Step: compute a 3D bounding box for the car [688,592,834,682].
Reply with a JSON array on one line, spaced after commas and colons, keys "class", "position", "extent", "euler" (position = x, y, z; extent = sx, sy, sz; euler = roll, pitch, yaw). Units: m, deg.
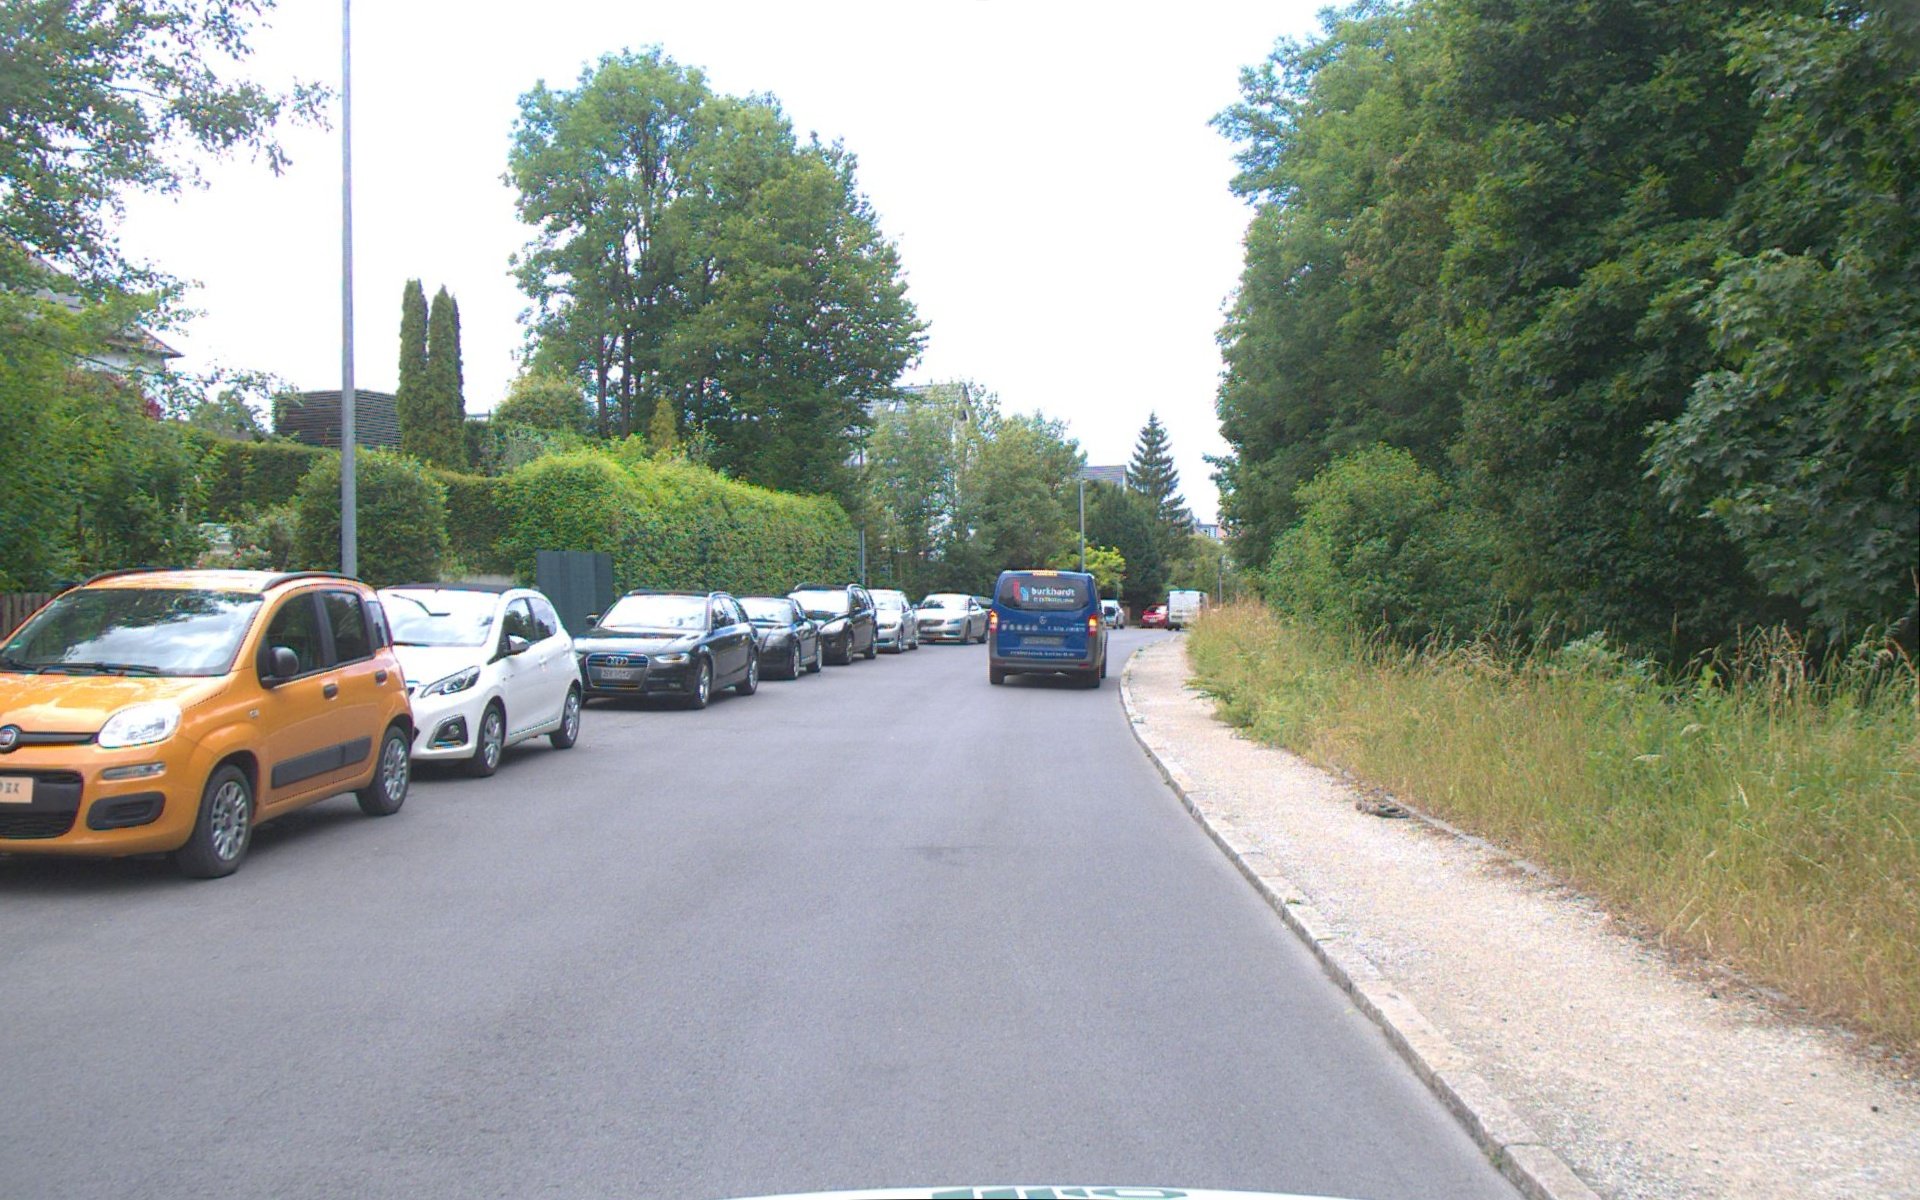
[{"class": "car", "position": [-3.284, 0.574, 28.043], "extent": [1.675, 1.364, 4.110], "euler": [1, 0, 4]}]

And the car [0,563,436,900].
[{"class": "car", "position": [-4.341, 0.596, 9.438], "extent": [1.512, 1.541, 3.644], "euler": [1, 0, 0]}]

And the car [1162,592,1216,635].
[{"class": "car", "position": [11.730, 0.692, 84.473], "extent": [2.159, 2.100, 6.139], "euler": [0, 0, 13]}]

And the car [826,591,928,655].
[{"class": "car", "position": [-1.899, 0.509, 39.160], "extent": [1.737, 1.398, 4.343], "euler": [1, 0, 6]}]

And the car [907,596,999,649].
[{"class": "car", "position": [-0.152, 0.610, 47.043], "extent": [1.792, 1.398, 4.449], "euler": [1, 0, 11]}]

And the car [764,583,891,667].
[{"class": "car", "position": [-2.626, 0.479, 33.800], "extent": [1.621, 1.560, 4.478], "euler": [1, 0, 8]}]

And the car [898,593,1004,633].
[{"class": "car", "position": [-0.356, 0.526, 65.292], "extent": [4.082, 1.472, 1.740], "euler": [1, -1, -1]}]

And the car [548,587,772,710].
[{"class": "car", "position": [-3.765, 0.562, 21.611], "extent": [1.682, 1.409, 4.666], "euler": [1, 0, 5]}]

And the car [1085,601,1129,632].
[{"class": "car", "position": [7.540, 0.842, 84.432], "extent": [1.669, 1.493, 4.079], "euler": [1, -1, 13]}]

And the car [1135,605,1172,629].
[{"class": "car", "position": [12.187, 1.088, 104.003], "extent": [1.601, 1.429, 4.002], "euler": [1, -1, 17]}]

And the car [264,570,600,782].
[{"class": "car", "position": [-4.289, 0.553, 13.988], "extent": [1.555, 1.541, 3.591], "euler": [1, 0, 2]}]

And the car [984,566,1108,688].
[{"class": "car", "position": [1.566, 0.421, 28.586], "extent": [1.895, 1.913, 4.533], "euler": [1, 0, 6]}]
